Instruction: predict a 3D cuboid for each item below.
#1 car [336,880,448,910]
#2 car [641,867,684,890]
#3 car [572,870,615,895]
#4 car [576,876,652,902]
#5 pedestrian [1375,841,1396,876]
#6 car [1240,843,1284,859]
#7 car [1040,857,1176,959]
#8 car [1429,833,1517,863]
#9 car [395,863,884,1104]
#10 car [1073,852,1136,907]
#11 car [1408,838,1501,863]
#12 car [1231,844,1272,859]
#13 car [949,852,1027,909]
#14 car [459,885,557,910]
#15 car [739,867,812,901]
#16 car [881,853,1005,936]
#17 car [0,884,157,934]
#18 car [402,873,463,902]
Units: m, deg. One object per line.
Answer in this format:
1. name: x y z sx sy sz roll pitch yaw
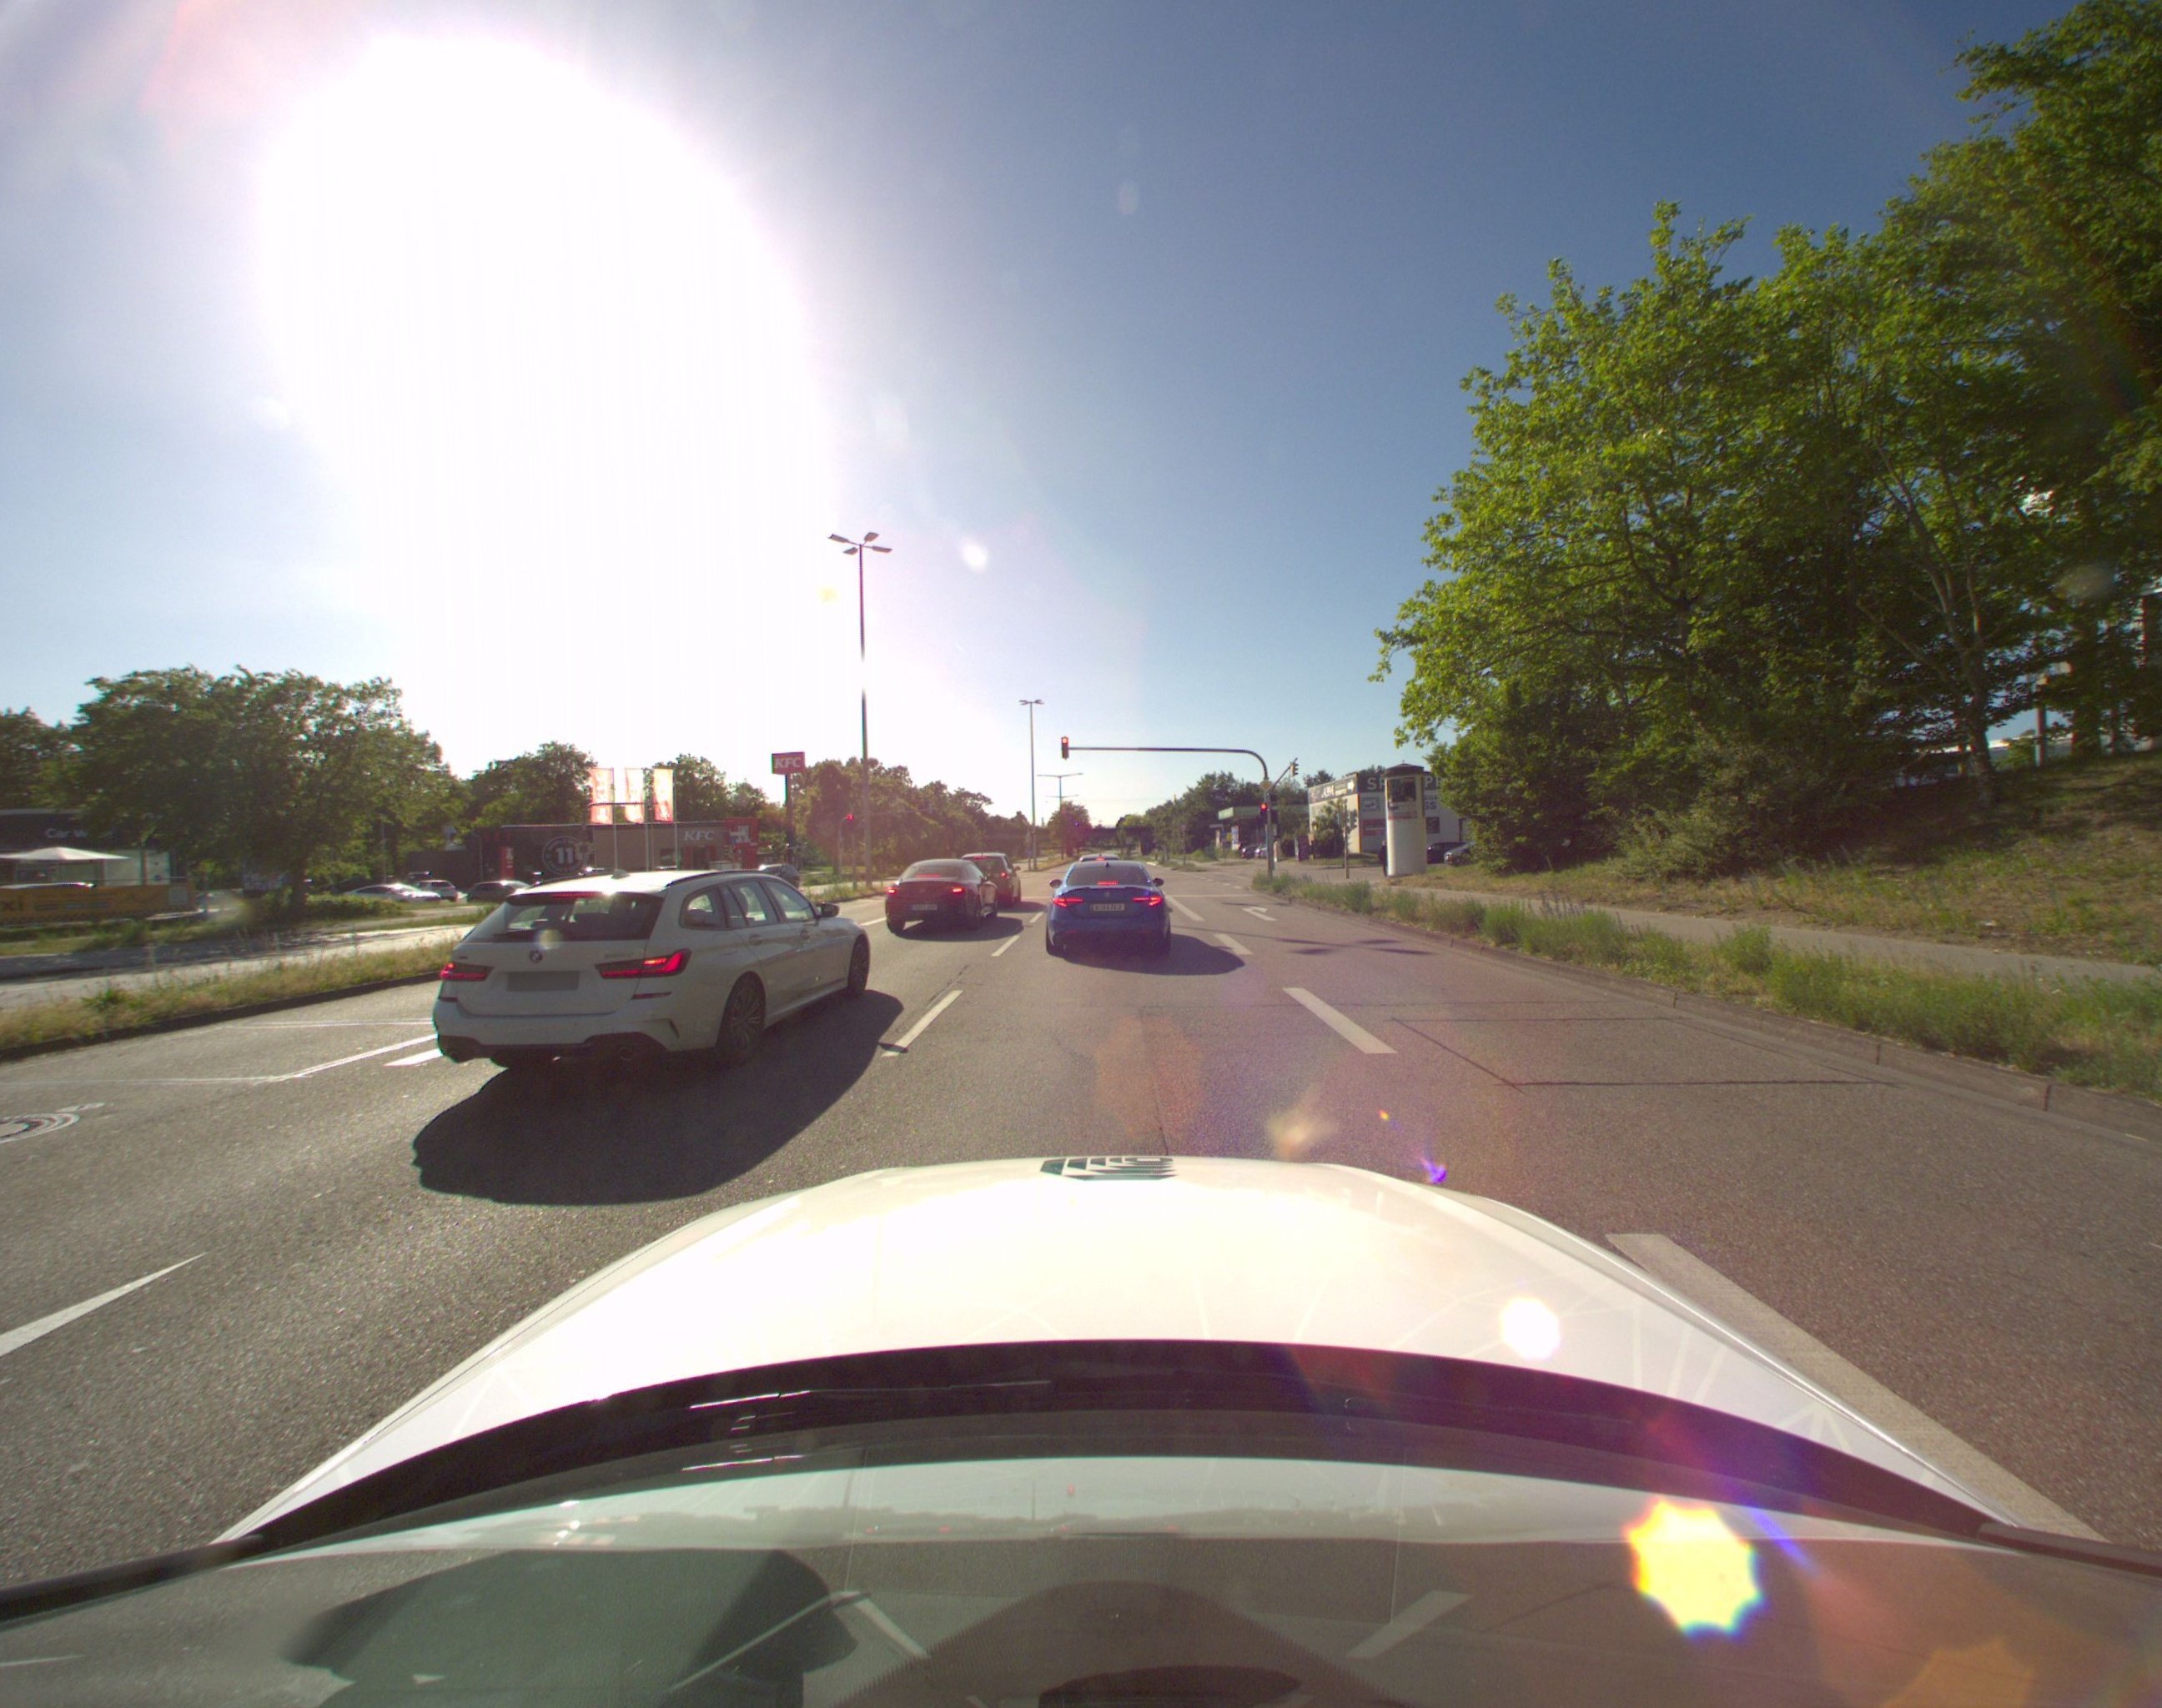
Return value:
1. car: -38.725 2.291 45.830 4.608 1.579 1.936 -1 -1 0
2. car: -33.485 1.961 65.149 1.946 1.740 4.046 0 -1 -44
3. car: -36.962 2.124 61.689 1.946 1.740 4.046 0 -1 -44
4. car: -30.175 2.228 52.689 3.755 1.559 1.996 0 -1 -6
5. pedestrian: 14.444 0.204 38.638 0.814 1.669 0.514 -1 -1 1
6. car: 18.080 -0.329 81.429 3.970 1.552 2.001 -1 -1 3
7. car: 0.495 0.773 13.310 1.901 1.423 3.722 -1 -1 4
8. car: 22.413 -0.316 46.679 4.291 1.650 1.638 -1 -1 1
9. car: -3.318 0.832 7.390 1.805 1.486 4.598 -1 -1 2
10. car: 0.763 0.724 24.217 1.696 1.497 3.722 -1 -1 4
11. car: 22.483 -0.195 49.165 4.803 1.468 1.758 -1 -1 0
12. car: 18.860 -0.275 89.935 3.995 1.552 1.989 0 -1 -16
13. car: -2.707 0.750 24.648 1.806 1.551 4.353 -1 -1 1
14. car: -31.814 2.400 45.289 4.070 1.252 1.871 -1 -1 0
15. car: -17.534 1.676 46.961 1.790 1.726 4.338 -1 0 14
16. car: -2.864 0.776 17.887 1.805 1.551 4.544 -1 0 1
17. car: -33.969 1.765 26.954 1.981 1.442 4.012 -1 -1 11
18. car: -43.301 2.201 54.395 3.724 1.813 2.012 -1 -1 31
